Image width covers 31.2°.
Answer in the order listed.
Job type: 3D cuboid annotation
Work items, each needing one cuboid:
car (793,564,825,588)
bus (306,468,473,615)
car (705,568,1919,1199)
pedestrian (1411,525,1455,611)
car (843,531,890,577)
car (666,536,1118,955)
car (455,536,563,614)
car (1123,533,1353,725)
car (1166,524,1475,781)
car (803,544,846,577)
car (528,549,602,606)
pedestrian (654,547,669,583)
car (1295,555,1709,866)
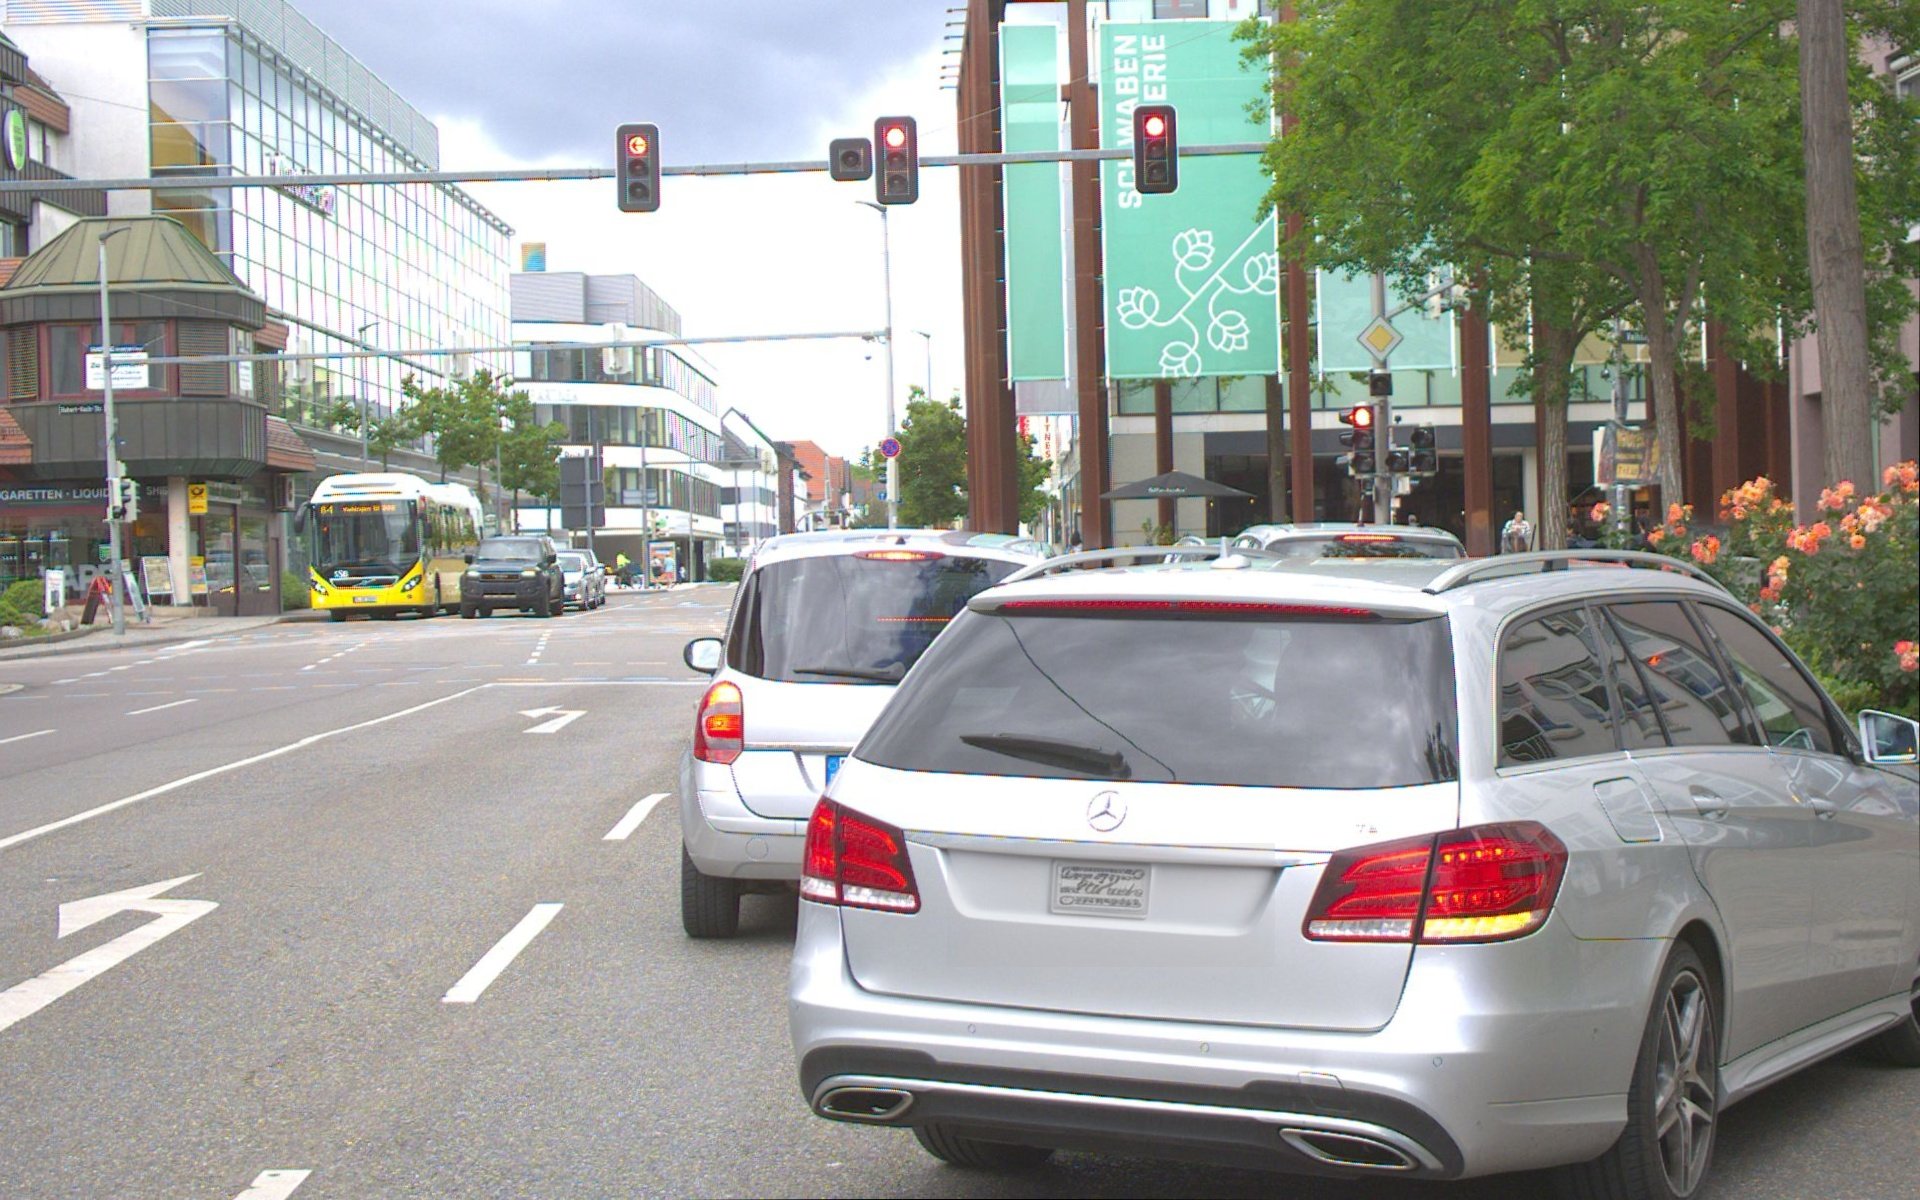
[{"bbox_3d":[-9.940,-1.583,226.320,1.801,1.535,4.065,-1,1,1],"label":"car"},{"bbox_3d":[-13.346,-1.390,81.030,2.686,3.250,8.654,-1,1,-2],"label":"bus"},{"bbox_3d":[1.277,0.662,8.787,1.818,1.443,4.363,1,1,27],"label":"car"},{"bbox_3d":[9.137,-0.627,66.379,0.651,1.645,0.559,-1,1,-15],"label":"pedestrian"},{"bbox_3d":[-4.053,-1.993,149.044,1.993,1.942,4.951,-1,1,-2],"label":"car"},{"bbox_3d":[-0.265,0.500,14.193,1.640,1.522,3.394,0,1,-1],"label":"car"},{"bbox_3d":[-10.246,-0.596,78.336,1.993,1.700,4.065,-1,1,-2],"label":"car"},{"bbox_3d":[2.414,0.210,30.653,1.586,1.589,3.868,1,1,-2],"label":"car"},{"bbox_3d":[2.426,0.302,23.984,1.586,1.628,3.917,1,1,-2],"label":"car"},{"bbox_3d":[-6.440,-1.886,163.490,1.801,1.535,4.065,-1,1,1],"label":"car"},{"bbox_3d":[-9.862,-0.577,85.979,1.555,1.387,3.288,-1,1,-2],"label":"car"},{"bbox_3d":[-14.244,-1.671,164.041,0.519,1.728,0.489,-2,1,-41],"label":"pedestrian"},{"bbox_3d":[2.730,0.503,17.955,1.586,1.438,3.348,1,1,0],"label":"car"}]
